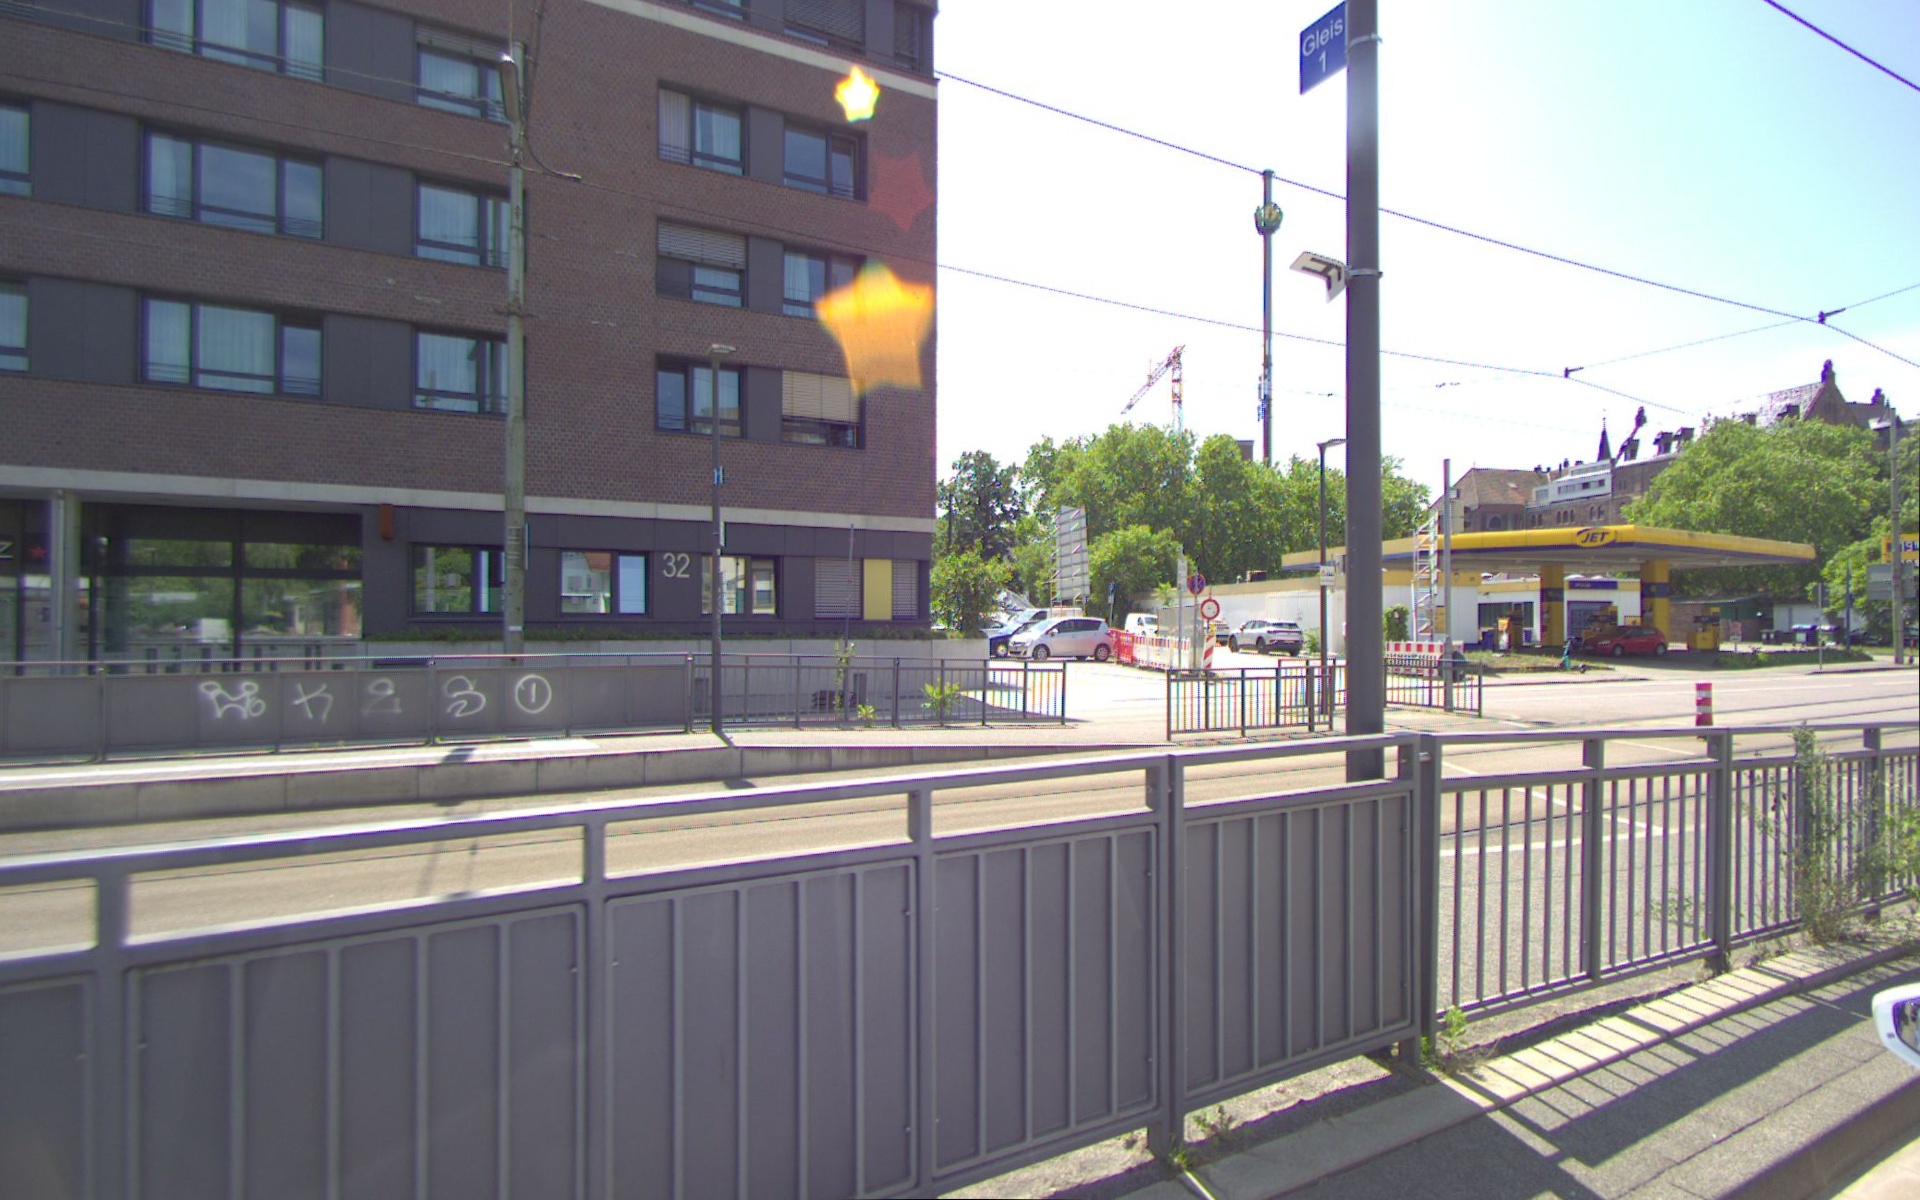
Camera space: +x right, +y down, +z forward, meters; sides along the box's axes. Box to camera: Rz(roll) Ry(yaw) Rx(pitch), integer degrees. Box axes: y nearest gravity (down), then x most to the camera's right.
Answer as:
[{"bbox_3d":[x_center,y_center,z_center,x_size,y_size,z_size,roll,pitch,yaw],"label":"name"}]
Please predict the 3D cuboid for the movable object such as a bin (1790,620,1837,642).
[{"bbox_3d":[58.005,2.097,68.273,2.062,1.451,1.523,1,0,-11],"label":"movable object such as a bin"}]

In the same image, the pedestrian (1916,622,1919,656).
[{"bbox_3d":[47.720,1.929,49.584,0.715,1.713,0.620,1,-1,-37],"label":"pedestrian"}]

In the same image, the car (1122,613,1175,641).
[{"bbox_3d":[12.267,1.756,65.602,1.965,1.686,4.268,1,0,-12],"label":"car"}]

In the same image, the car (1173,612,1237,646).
[{"bbox_3d":[14.251,1.670,58.631,1.965,1.805,4.268,1,0,-12],"label":"car"}]

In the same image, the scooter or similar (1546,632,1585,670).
[{"bbox_3d":[20.865,1.764,34.615,1.220,1.281,0.345,1,0,-11],"label":"scooter or similar"}]

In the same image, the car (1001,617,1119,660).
[{"bbox_3d":[3.629,1.386,36.557,3.944,1.488,1.727,1,0,-24],"label":"car"}]

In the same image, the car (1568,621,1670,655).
[{"bbox_3d":[32.226,1.838,49.180,4.126,1.525,1.827,-1,1,-13],"label":"car"}]

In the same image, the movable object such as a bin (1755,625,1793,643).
[{"bbox_3d":[57.062,2.371,70.457,1.536,1.153,1.406,1,0,-11],"label":"movable object such as a bin"}]

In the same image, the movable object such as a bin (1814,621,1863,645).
[{"bbox_3d":[58.314,2.174,66.687,2.062,1.529,1.522,1,1,-11],"label":"movable object such as a bin"}]

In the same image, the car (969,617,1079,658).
[{"bbox_3d":[2.498,1.437,38.990,3.946,1.488,1.726,1,-1,-26],"label":"car"}]

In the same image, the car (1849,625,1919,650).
[{"bbox_3d":[60.515,2.411,64.828,4.361,1.508,1.936,1,0,4],"label":"car"}]

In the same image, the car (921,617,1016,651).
[{"bbox_3d":[0.397,1.519,45.122,3.946,1.488,1.726,1,-1,-26],"label":"car"}]

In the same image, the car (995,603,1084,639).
[{"bbox_3d":[4.467,1.180,56.166,4.747,1.930,1.727,1,-1,-24],"label":"car"}]

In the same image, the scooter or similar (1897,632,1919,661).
[{"bbox_3d":[42.347,2.067,44.863,1.364,1.216,0.514,1,0,-39],"label":"scooter or similar"}]

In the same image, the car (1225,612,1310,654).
[{"bbox_3d":[13.952,1.475,45.861,1.859,1.769,4.268,1,0,-12],"label":"car"}]
